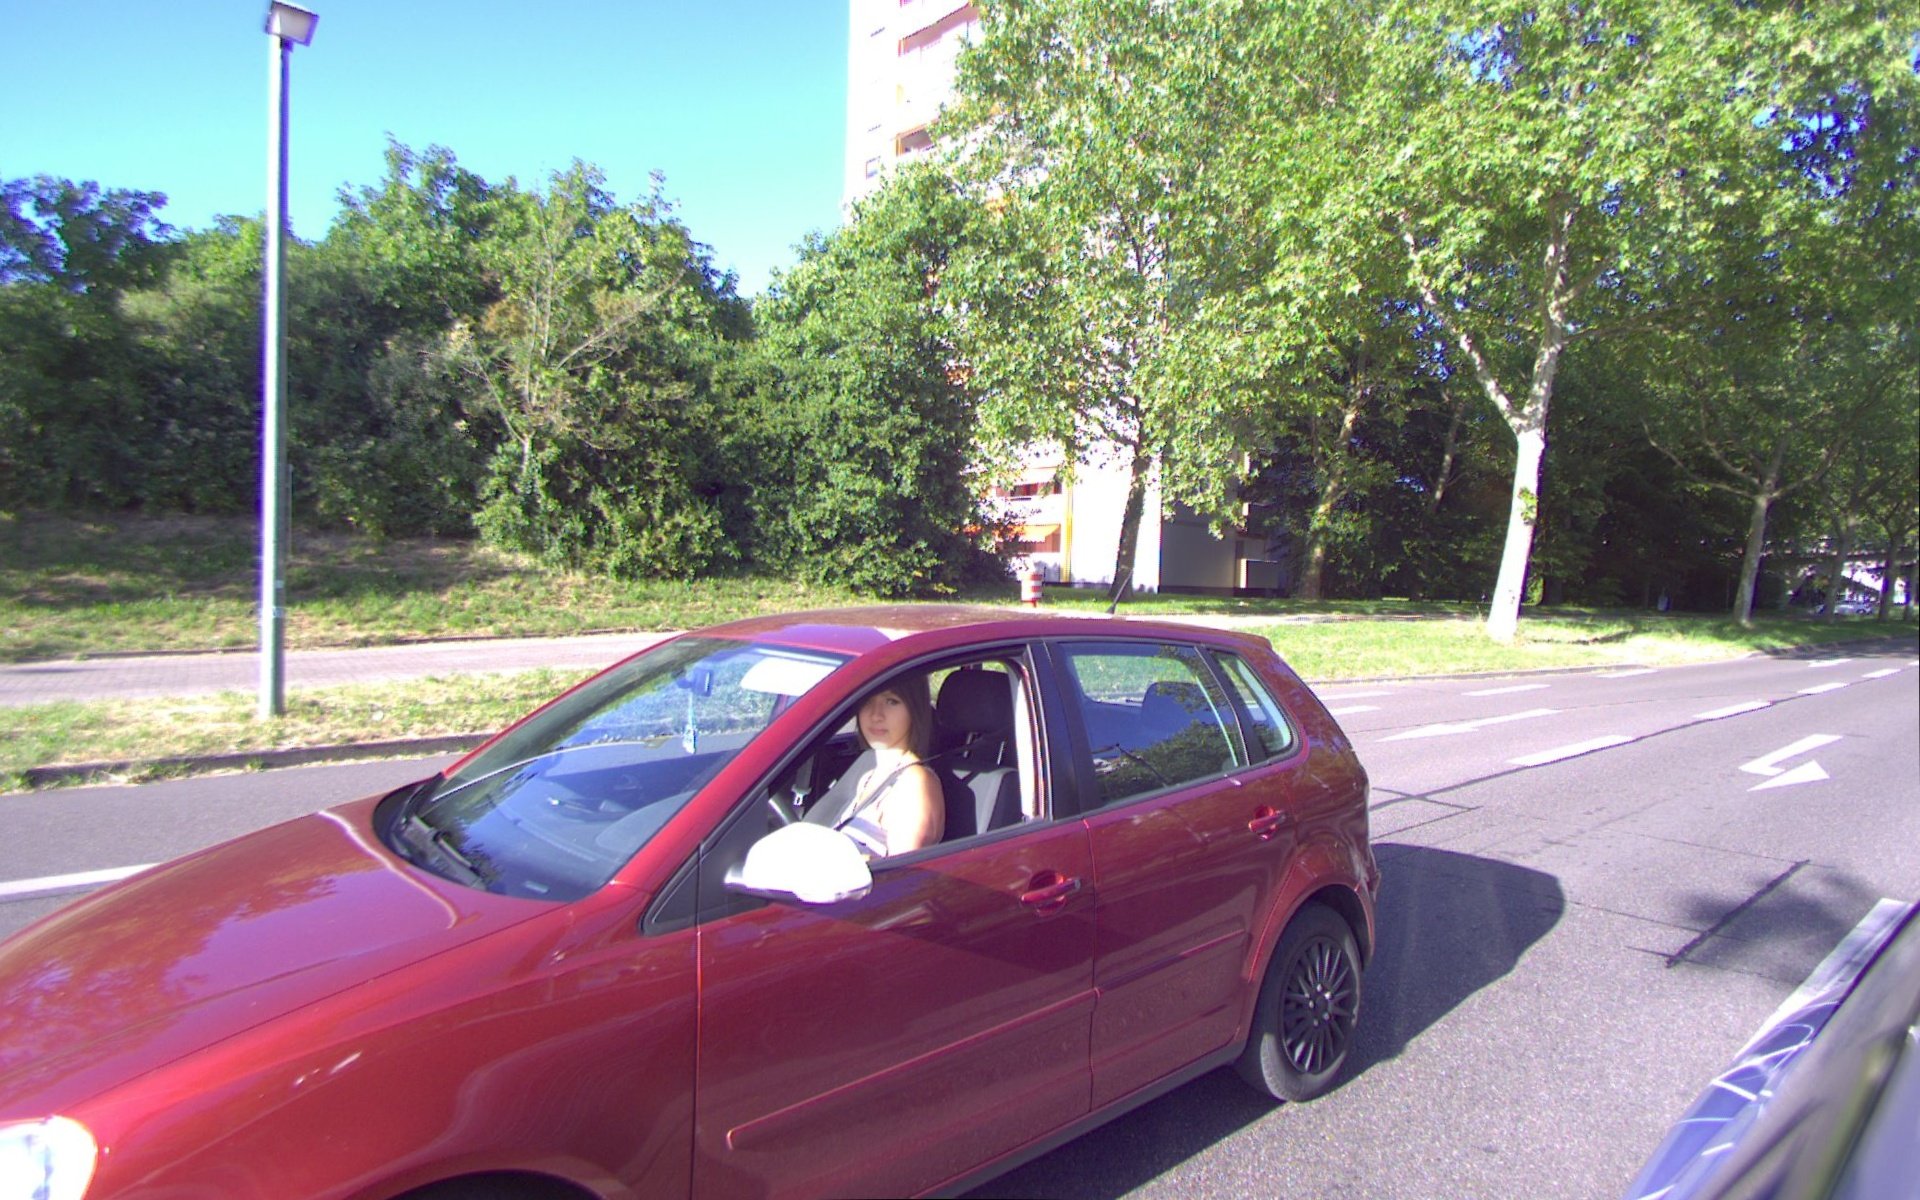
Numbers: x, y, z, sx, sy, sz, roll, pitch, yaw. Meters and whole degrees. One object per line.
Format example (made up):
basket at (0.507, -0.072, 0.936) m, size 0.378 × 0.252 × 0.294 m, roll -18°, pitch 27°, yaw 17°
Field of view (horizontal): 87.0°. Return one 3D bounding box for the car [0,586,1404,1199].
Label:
car at (-0.444, 0.711, 2.725) m, size 3.624 × 1.479 × 1.579 m, roll -1°, pitch 0°, yaw -40°
